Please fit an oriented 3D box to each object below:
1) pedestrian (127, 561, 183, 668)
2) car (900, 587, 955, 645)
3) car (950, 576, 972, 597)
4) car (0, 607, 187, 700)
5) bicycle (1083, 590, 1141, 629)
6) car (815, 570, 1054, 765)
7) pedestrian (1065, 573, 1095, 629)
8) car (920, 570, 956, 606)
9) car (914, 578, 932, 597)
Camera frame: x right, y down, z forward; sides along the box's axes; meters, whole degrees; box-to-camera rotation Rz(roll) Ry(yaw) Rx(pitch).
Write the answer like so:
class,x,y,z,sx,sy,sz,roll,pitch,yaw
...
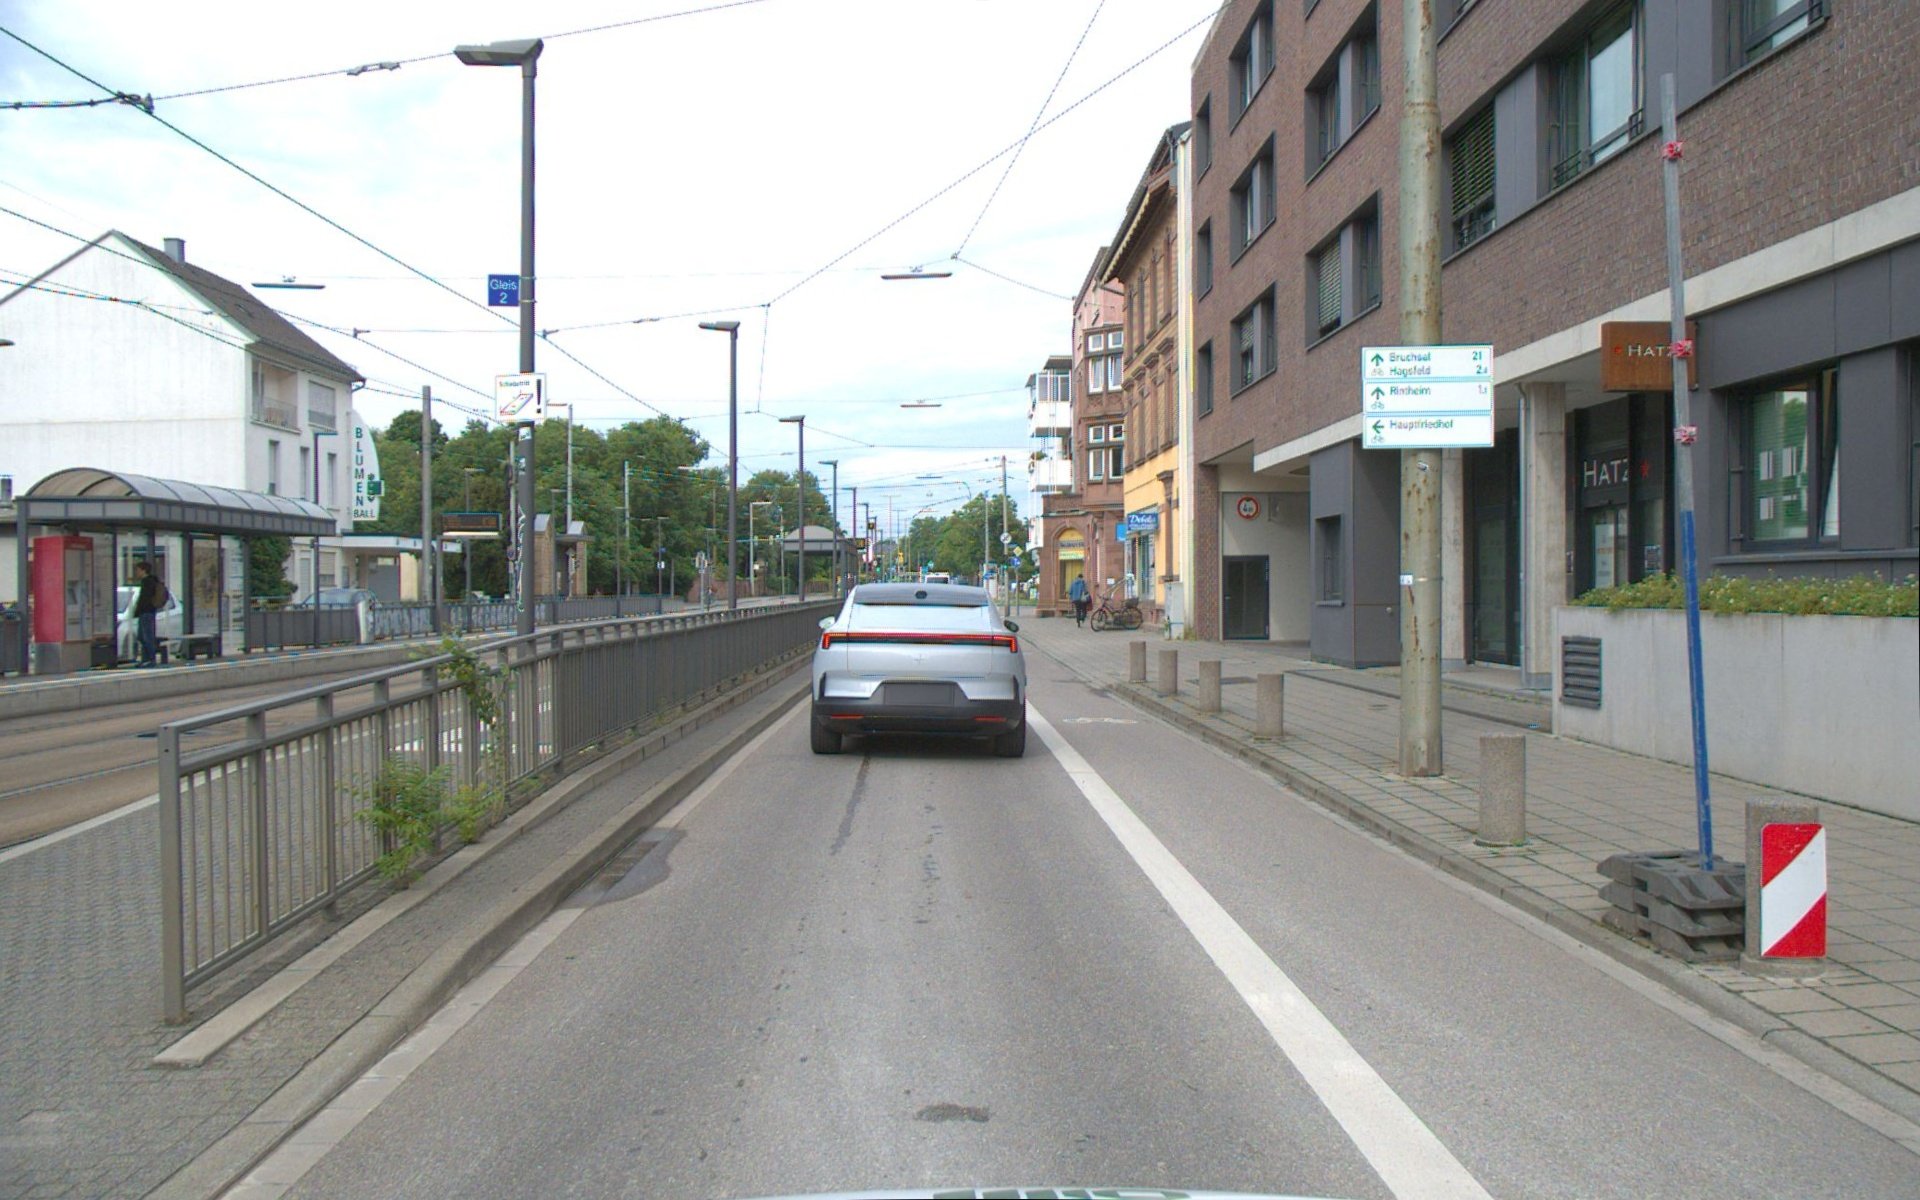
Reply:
class,x,y,z,sx,sy,sz,roll,pitch,yaw
pedestrian,-12.926,0.230,26.555,0.690,1.694,0.608,1,0,-40
car,-0.990,0.473,51.158,1.647,1.717,3.823,0,0,-1
car,0.084,-1.714,212.468,2.750,2.548,5.721,0,0,-1
car,-16.593,0.966,31.498,1.826,1.512,3.999,-3,1,-1
bicycle,4.868,0.311,53.039,1.742,1.149,0.642,-3,0,-2
car,-0.380,0.569,15.725,1.960,1.608,3.995,1,0,-5
pedestrian,4.177,0.016,57.624,0.940,1.882,0.976,-2,1,5
car,-1.530,-0.795,114.583,2.182,2.444,5.118,0,0,-4
car,-4.032,-1.423,182.350,1.953,2.049,3.999,0,1,-1
